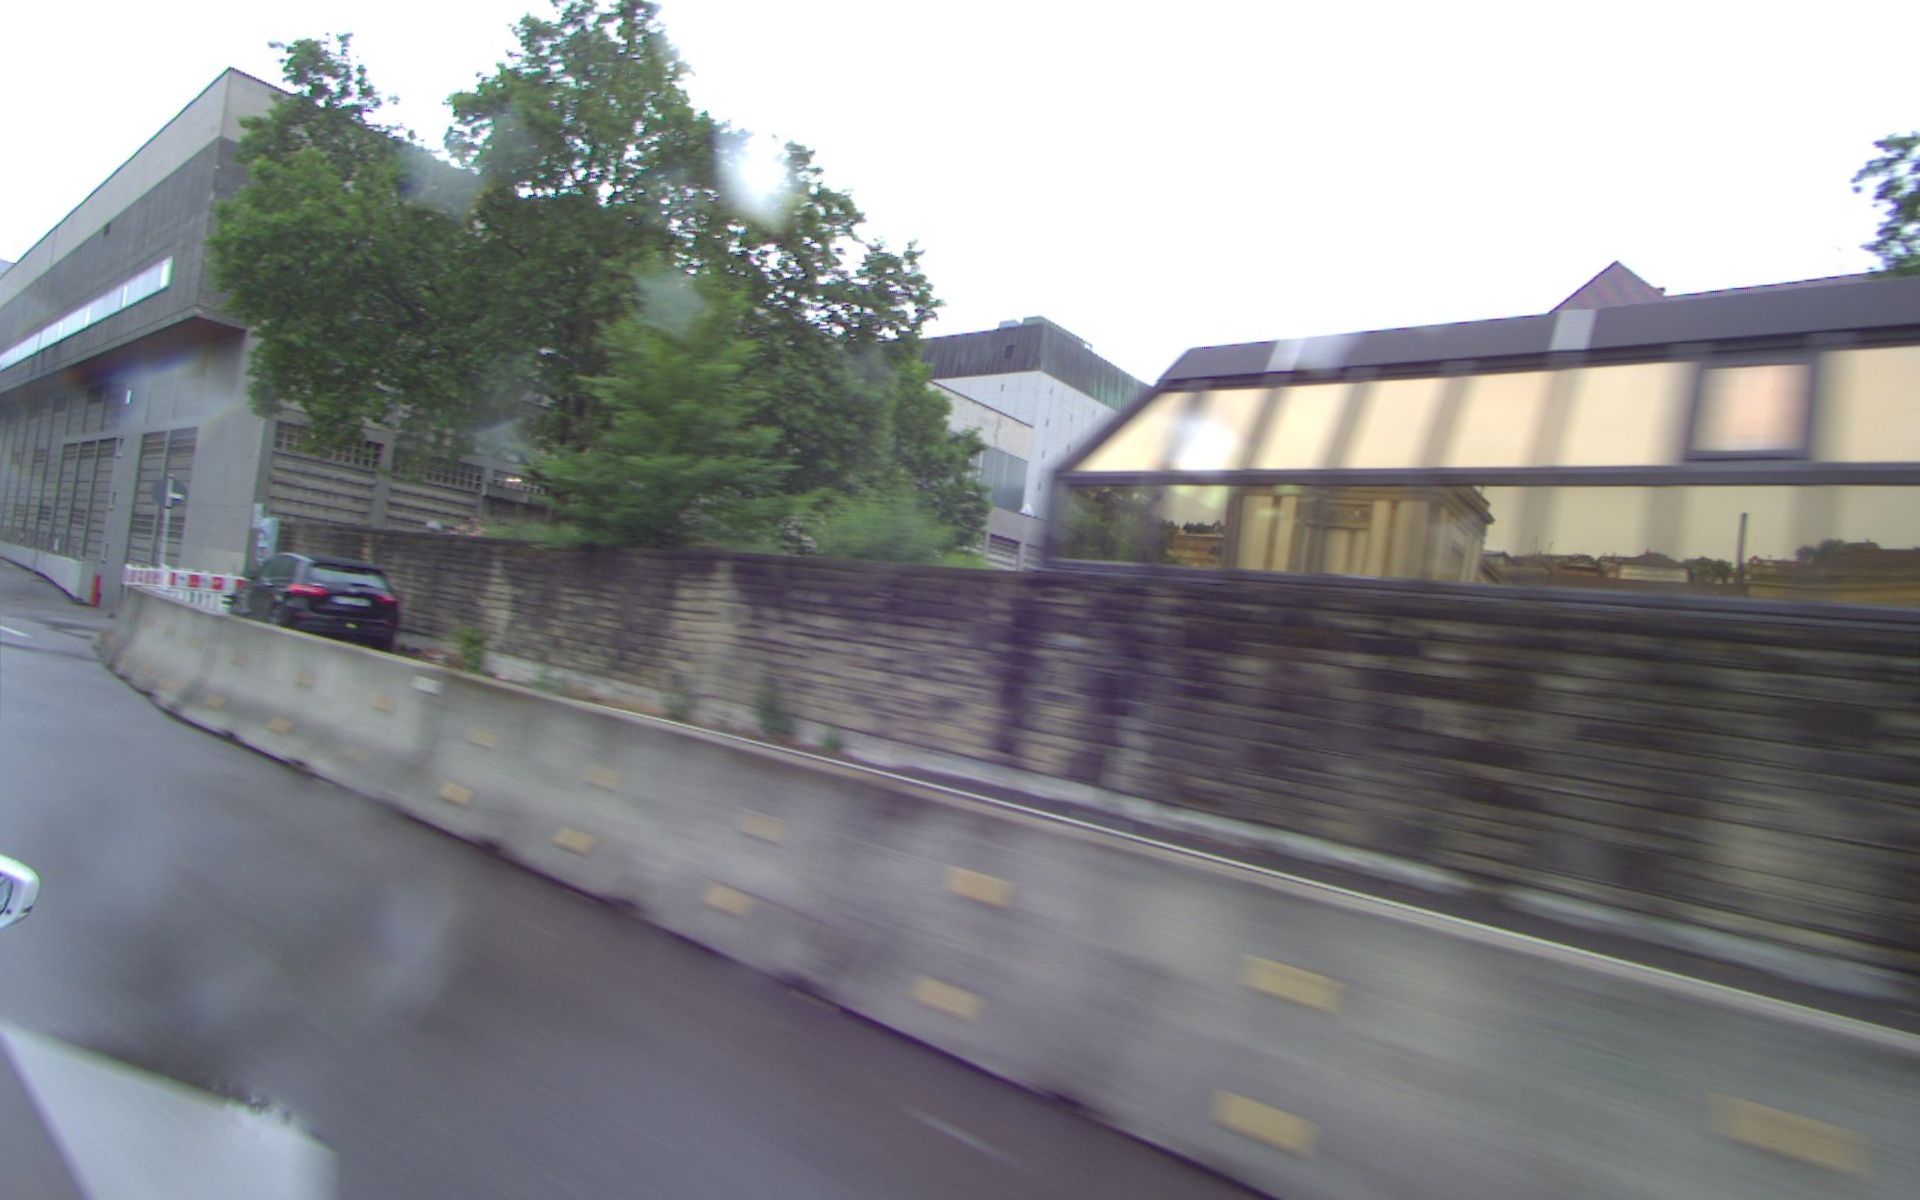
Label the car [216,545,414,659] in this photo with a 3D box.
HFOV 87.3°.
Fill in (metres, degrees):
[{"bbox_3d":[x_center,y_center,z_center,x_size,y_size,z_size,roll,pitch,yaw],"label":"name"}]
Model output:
[{"bbox_3d":[-11.439,-0.013,17.723,4.268,1.569,1.803,4,-3,43],"label":"car"}]
